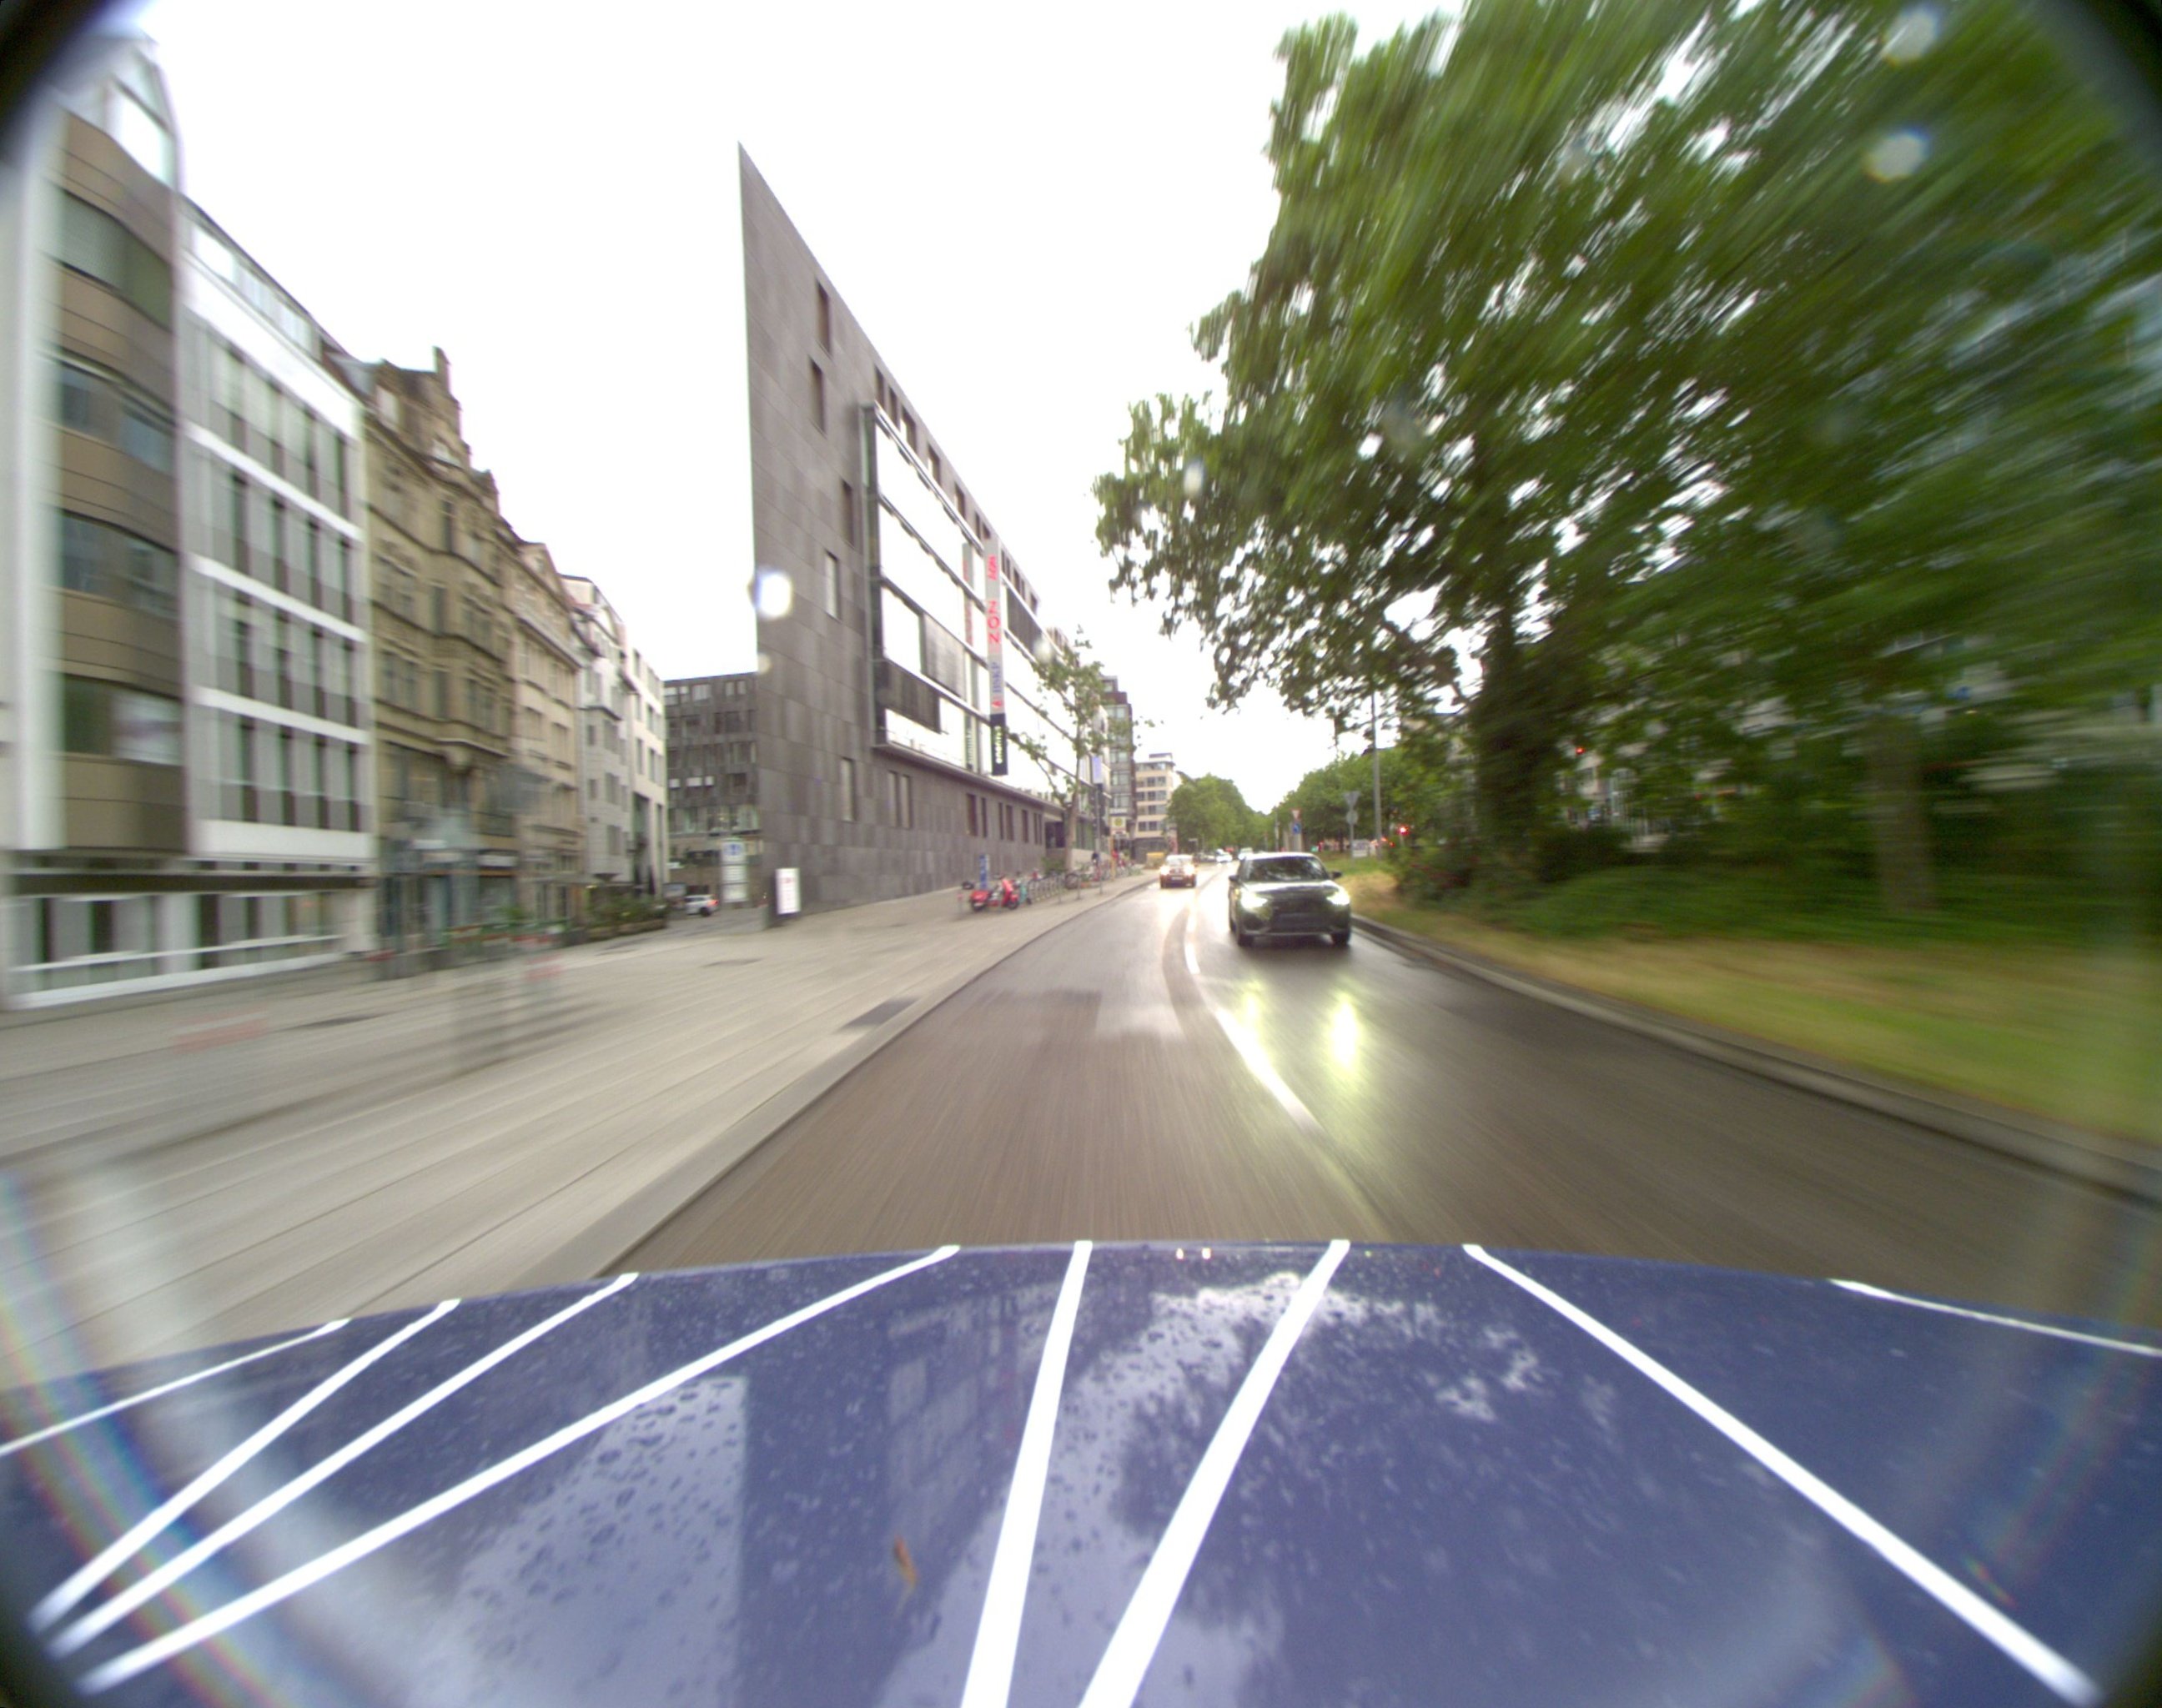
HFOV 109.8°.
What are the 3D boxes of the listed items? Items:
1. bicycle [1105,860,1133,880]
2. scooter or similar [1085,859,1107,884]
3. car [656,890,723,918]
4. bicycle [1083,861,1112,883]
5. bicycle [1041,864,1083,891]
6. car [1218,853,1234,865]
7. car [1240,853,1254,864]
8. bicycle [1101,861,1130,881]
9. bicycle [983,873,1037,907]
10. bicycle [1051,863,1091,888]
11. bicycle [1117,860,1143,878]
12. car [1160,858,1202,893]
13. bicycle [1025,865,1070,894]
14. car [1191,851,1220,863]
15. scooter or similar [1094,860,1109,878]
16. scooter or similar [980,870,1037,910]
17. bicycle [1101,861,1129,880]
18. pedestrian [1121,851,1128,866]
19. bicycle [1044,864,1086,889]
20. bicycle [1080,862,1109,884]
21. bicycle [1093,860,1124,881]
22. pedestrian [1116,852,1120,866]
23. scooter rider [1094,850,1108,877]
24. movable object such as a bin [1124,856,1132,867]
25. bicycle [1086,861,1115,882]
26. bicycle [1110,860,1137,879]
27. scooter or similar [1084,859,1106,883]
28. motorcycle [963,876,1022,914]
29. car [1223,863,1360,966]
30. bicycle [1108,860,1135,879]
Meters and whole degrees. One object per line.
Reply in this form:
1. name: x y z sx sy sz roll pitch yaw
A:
1. bicycle: 2.442 1.024 48.884 1.733 1.176 0.689 -1 0 5
2. scooter or similar: 0.790 0.935 40.265 1.062 1.251 0.302 -2 2 5
3. car: -27.880 3.567 54.241 4.073 1.608 1.701 -4 0 -23
4. bicycle: 0.916 1.021 42.597 1.537 1.134 0.689 -2 1 5
5. bicycle: -0.857 1.071 34.796 1.798 1.062 0.556 -4 1 7
6. car: 20.917 0.710 109.277 2.071 1.578 4.111 -4 0 12
7. car: 22.340 0.622 102.336 1.604 1.377 3.022 -4 0 11
8. bicycle: 2.128 1.055 47.096 1.733 1.133 0.689 -1 0 5
9. bicycle: -2.580 1.310 27.788 1.798 1.101 0.670 -4 1 6
10. bicycle: -0.465 1.014 36.212 1.798 1.062 0.556 -4 1 7
11. bicycle: 3.343 0.997 51.525 1.733 1.176 0.689 -1 0 5
12. car: 4.775 0.976 35.959 1.593 1.501 3.712 -2 0 13
13. bicycle: -1.446 1.105 33.067 1.798 1.101 0.670 -4 1 6
14. car: 20.593 0.499 125.993 2.004 1.801 4.202 -4 0 -44
15. scooter or similar: 1.551 1.125 57.941 0.779 1.298 1.336 -2 0 15
16. scooter or similar: -2.507 1.253 26.361 1.796 1.236 0.596 -4 1 6
17. bicycle: 2.167 1.048 48.025 1.733 1.133 0.689 -1 0 5
18. pedestrian: 5.145 0.568 90.769 0.723 1.820 0.747 -1 1 9
19. bicycle: -0.740 1.049 35.415 1.798 1.062 0.556 -4 1 7
20. bicycle: 0.751 1.041 41.831 1.537 1.134 0.662 -2 1 5
21. bicycle: 1.575 0.963 44.060 1.709 1.134 0.689 -2 1 5
22. pedestrian: 4.430 0.642 90.931 0.484 1.689 0.579 -1 1 9
23. scooter rider: 1.540 0.727 57.941 0.779 2.009 0.925 -2 0 15
24. movable object such as a bin: 5.514 0.834 89.409 0.804 1.258 1.789 -1 1 10
25. bicycle: 1.130 0.992 43.363 1.537 1.134 0.689 -2 1 5
26. bicycle: 2.816 1.014 50.481 1.733 1.176 0.689 -1 0 5
27. scooter or similar: 0.763 0.895 40.639 1.108 1.251 0.302 -2 2 5
28. motorcycle: -2.930 1.354 25.314 1.796 1.133 0.596 -4 1 6
29. car: 3.713 0.989 14.128 1.864 1.509 4.348 -2 0 8
30. bicycle: 2.645 1.019 49.607 1.733 1.176 0.689 -1 0 5
